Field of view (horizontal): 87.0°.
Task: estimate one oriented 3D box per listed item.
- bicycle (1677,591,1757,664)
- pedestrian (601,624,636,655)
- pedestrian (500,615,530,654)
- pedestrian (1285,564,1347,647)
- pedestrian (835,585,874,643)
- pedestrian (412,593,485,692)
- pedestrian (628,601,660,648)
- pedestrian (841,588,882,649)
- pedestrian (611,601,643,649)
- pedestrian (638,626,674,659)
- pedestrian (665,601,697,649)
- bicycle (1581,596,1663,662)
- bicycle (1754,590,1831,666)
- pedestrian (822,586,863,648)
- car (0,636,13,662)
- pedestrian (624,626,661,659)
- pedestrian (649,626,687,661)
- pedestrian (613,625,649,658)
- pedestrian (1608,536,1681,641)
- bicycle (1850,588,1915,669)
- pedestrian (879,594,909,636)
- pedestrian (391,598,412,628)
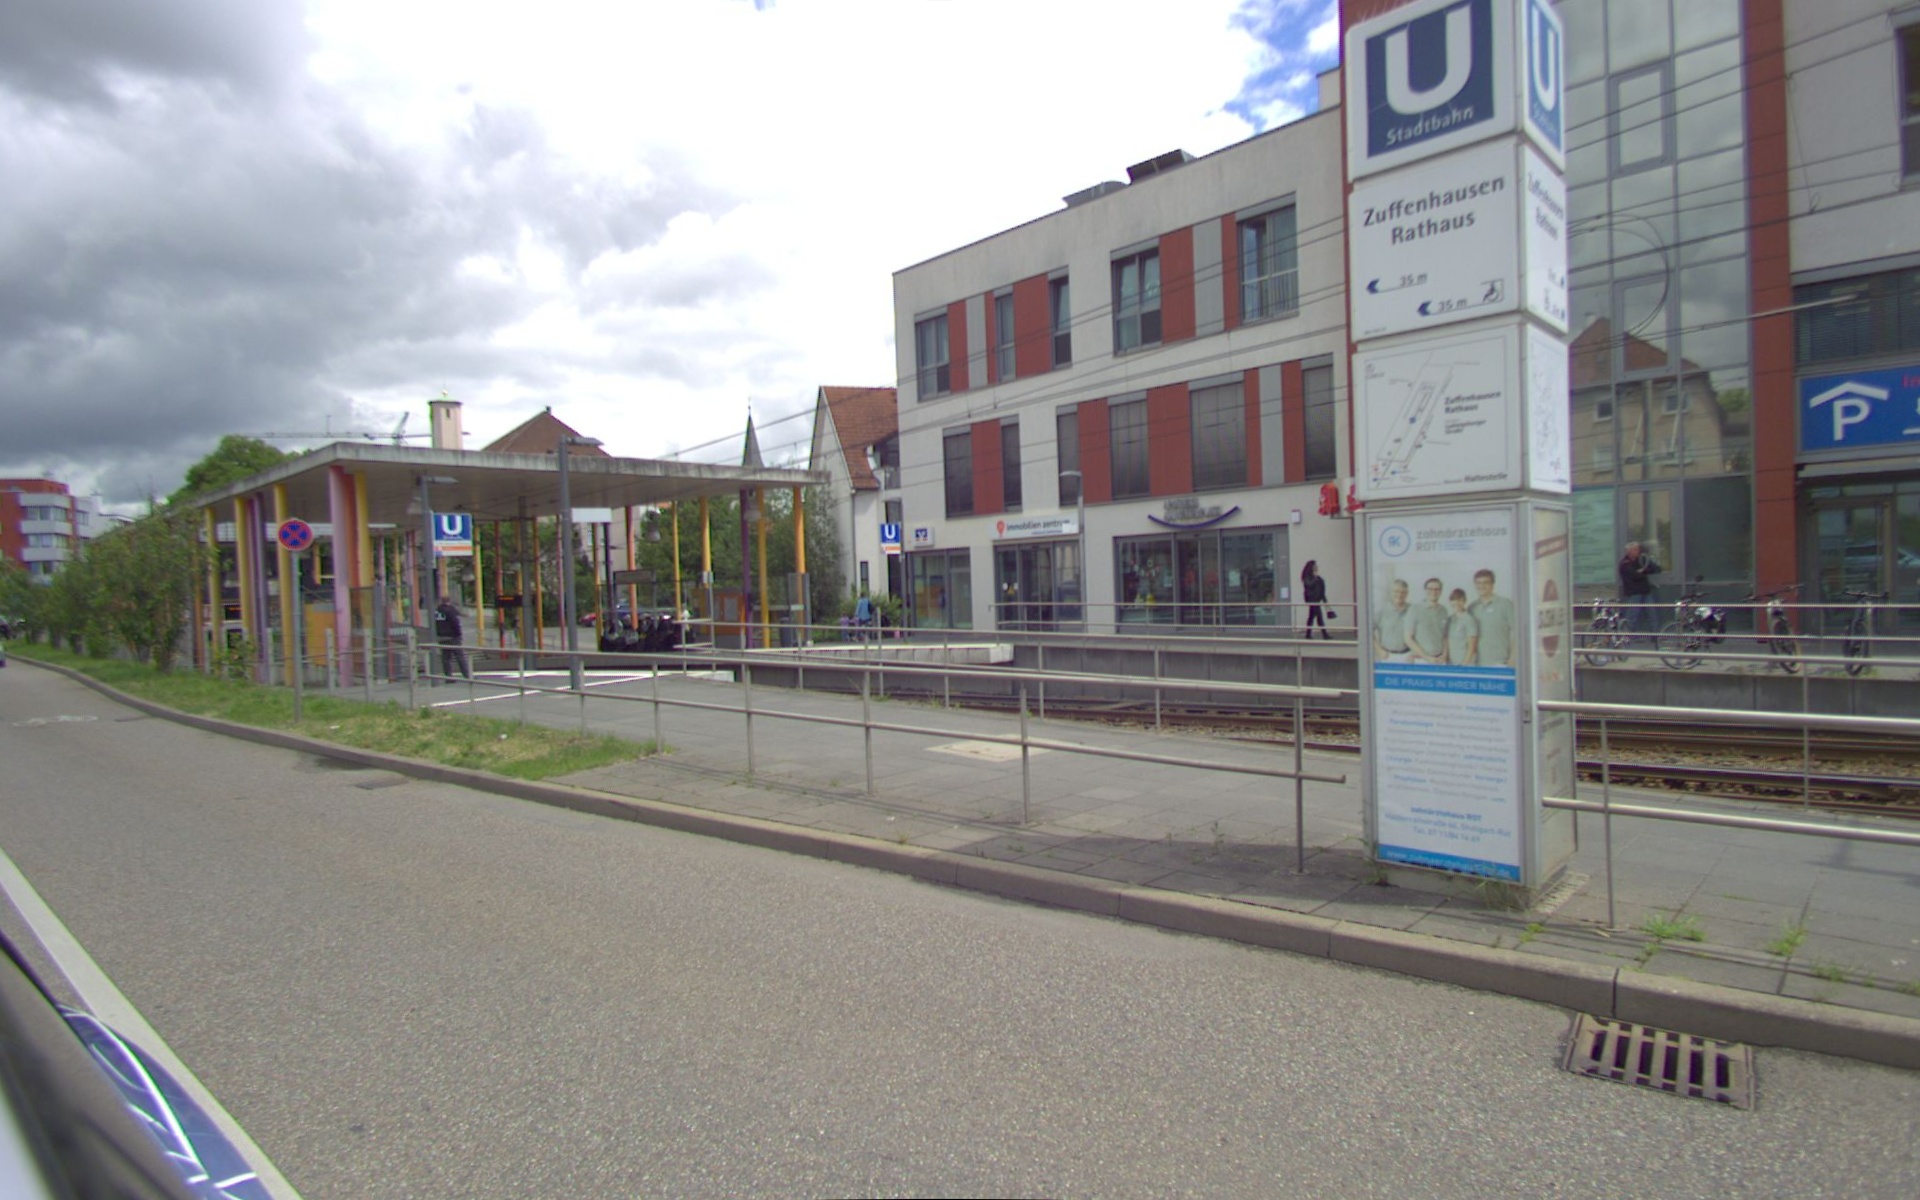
[{"bbox_3d":[10.721,0.365,14.312,1.834,0.939,0.455,-2,1,-39],"label":"bicycle"},{"bbox_3d":[-12.959,1.491,38.387,0.886,1.143,0.931,-2,-1,45],"label":"pedestrian"},{"bbox_3d":[-23.554,1.820,53.538,1.111,2.029,1.180,-1,-1,-42],"label":"pedestrian"},{"bbox_3d":[7.529,0.117,21.421,0.775,1.711,0.938,-1,0,-30],"label":"pedestrian"},{"bbox_3d":[-3.674,0.483,35.139,0.851,1.983,1.107,-1,0,-42],"label":"pedestrian"},{"bbox_3d":[-10.359,0.830,20.506,0.865,1.928,1.090,-1,0,44],"label":"pedestrian"},{"bbox_3d":[-13.570,1.056,43.422,1.105,1.983,0.853,-1,0,41],"label":"pedestrian"},{"bbox_3d":[-3.290,0.598,33.833,0.851,1.983,1.107,-1,0,-42],"label":"pedestrian"},{"bbox_3d":[-14.110,1.063,42.857,1.105,1.983,0.853,-1,0,41],"label":"pedestrian"},{"bbox_3d":[-10.894,1.525,36.269,0.886,1.143,0.931,-2,-1,45],"label":"pedestrian"},{"bbox_3d":[-11.813,1.033,42.811,0.852,1.983,1.107,-1,0,-45],"label":"pedestrian"},{"bbox_3d":[9.854,0.411,15.033,1.834,0.888,0.455,-2,1,-39],"label":"bicycle"},{"bbox_3d":[11.313,0.357,13.730,1.834,0.929,0.455,-2,1,-39],"label":"bicycle"},{"bbox_3d":[-3.871,0.557,33.327,0.851,1.983,1.107,-1,0,-42],"label":"pedestrian"},{"bbox_3d":[-69.693,3.521,72.941,1.839,1.719,4.007,-1,0,-40],"label":"car"},{"bbox_3d":[-11.588,1.534,36.930,0.886,1.143,0.931,-2,-1,45],"label":"pedestrian"},{"bbox_3d":[-10.257,1.521,35.564,0.886,1.143,0.931,-2,-1,45],"label":"pedestrian"},{"bbox_3d":[-12.251,1.542,37.674,0.886,1.143,0.931,-2,-1,45],"label":"pedestrian"},{"bbox_3d":[12.541,-0.212,18.576,0.856,1.859,0.876,-1,2,15],"label":"pedestrian"},{"bbox_3d":[11.963,0.338,13.106,1.835,0.946,0.455,-2,1,-43],"label":"bicycle"},{"bbox_3d":[-3.159,0.708,48.481,0.865,1.983,1.090,-1,0,44],"label":"pedestrian"},{"bbox_3d":[-39.386,0.923,71.372,1.111,2.029,0.816,-1,-1,-42],"label":"pedestrian"}]
